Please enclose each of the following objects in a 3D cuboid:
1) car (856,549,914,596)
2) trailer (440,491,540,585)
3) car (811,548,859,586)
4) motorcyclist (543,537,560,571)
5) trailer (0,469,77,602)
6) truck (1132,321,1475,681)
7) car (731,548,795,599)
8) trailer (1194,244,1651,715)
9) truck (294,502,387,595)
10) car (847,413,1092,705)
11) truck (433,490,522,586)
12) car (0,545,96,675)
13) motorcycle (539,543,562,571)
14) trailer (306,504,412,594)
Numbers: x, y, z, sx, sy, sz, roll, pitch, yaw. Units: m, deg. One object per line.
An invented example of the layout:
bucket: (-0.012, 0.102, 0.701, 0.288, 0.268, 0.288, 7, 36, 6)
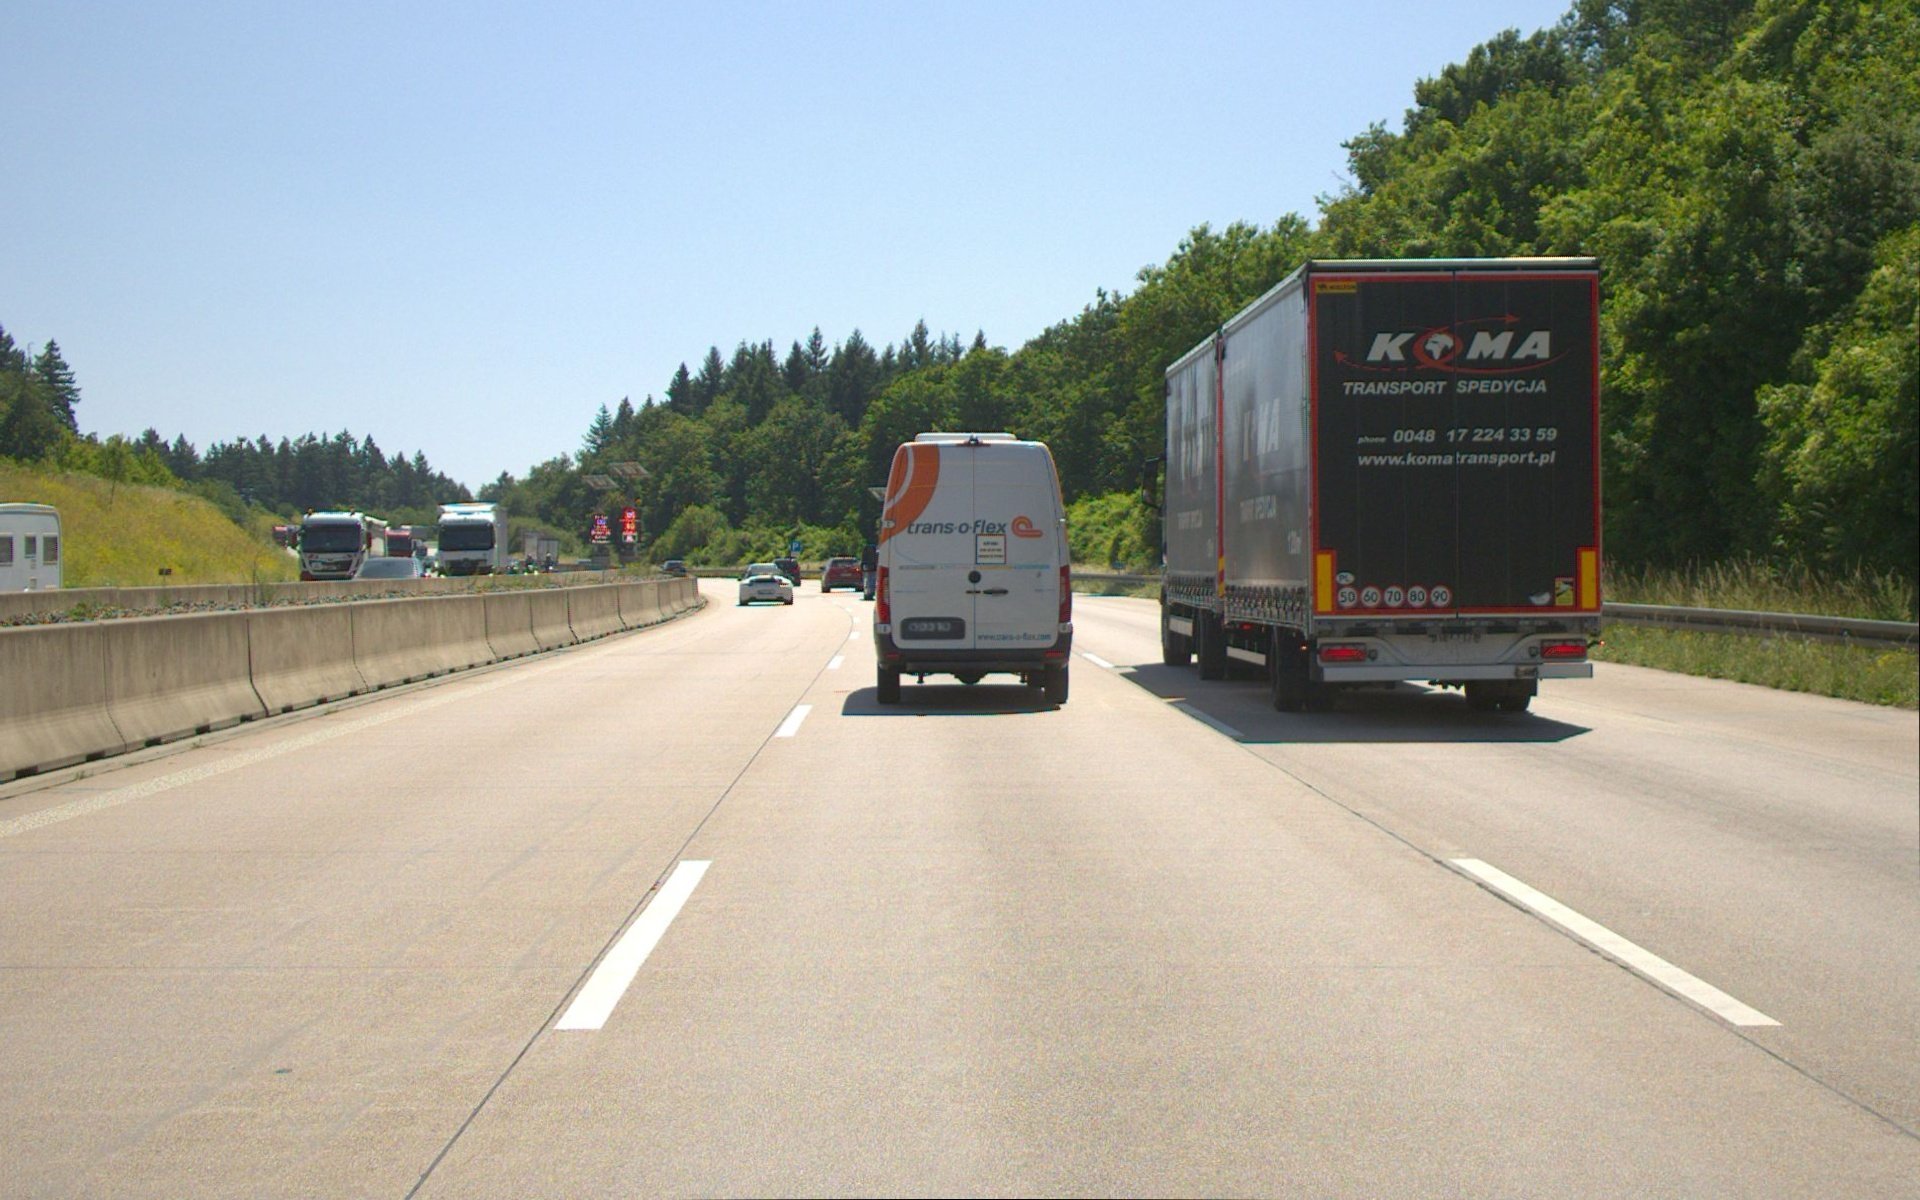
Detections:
car: (-2.801, -1.008, 128.868, 1.993, 1.678, 4.000, 2, 0, 0)
trailer: (-21.032, -2.688, 154.612, 3.160, 3.919, 13.868, 2, 0, -3)
car: (-5.831, -1.528, 161.184, 1.993, 1.678, 4.000, 2, 0, 1)
motorcyclist: (-22.505, -2.540, 189.258, 0.818, 1.867, 1.492, 0, 1, -2)
trailer: (-20.330, -1.327, 70.309, 2.606, 2.622, 7.782, 1, 1, -1)
truck: (4.107, -1.172, 43.720, 3.159, 4.003, 10.608, 0, 1, -1)
car: (-6.837, -0.922, 119.518, 1.993, 1.678, 4.000, 2, 0, -1)
trailer: (4.254, -1.082, 33.875, 3.134, 4.003, 9.088, 0, 1, -1)
truck: (-23.726, -1.949, 131.880, 2.725, 3.401, 4.512, 2, 0, -1)
car: (0.010, -0.466, 36.189, 2.226, 2.834, 5.455, 0, 1, -3)
truck: (-20.661, -2.617, 147.443, 3.160, 3.919, 5.837, 2, 0, -3)
car: (-12.143, 0.081, 42.408, 1.993, 1.514, 4.000, 1, 1, -1)
motorcycle: (-22.532, -2.375, 189.240, 1.008, 1.544, 2.484, 0, 1, -2)
trailer: (-23.807, -1.964, 136.638, 2.725, 3.401, 8.956, 2, 0, -1)
